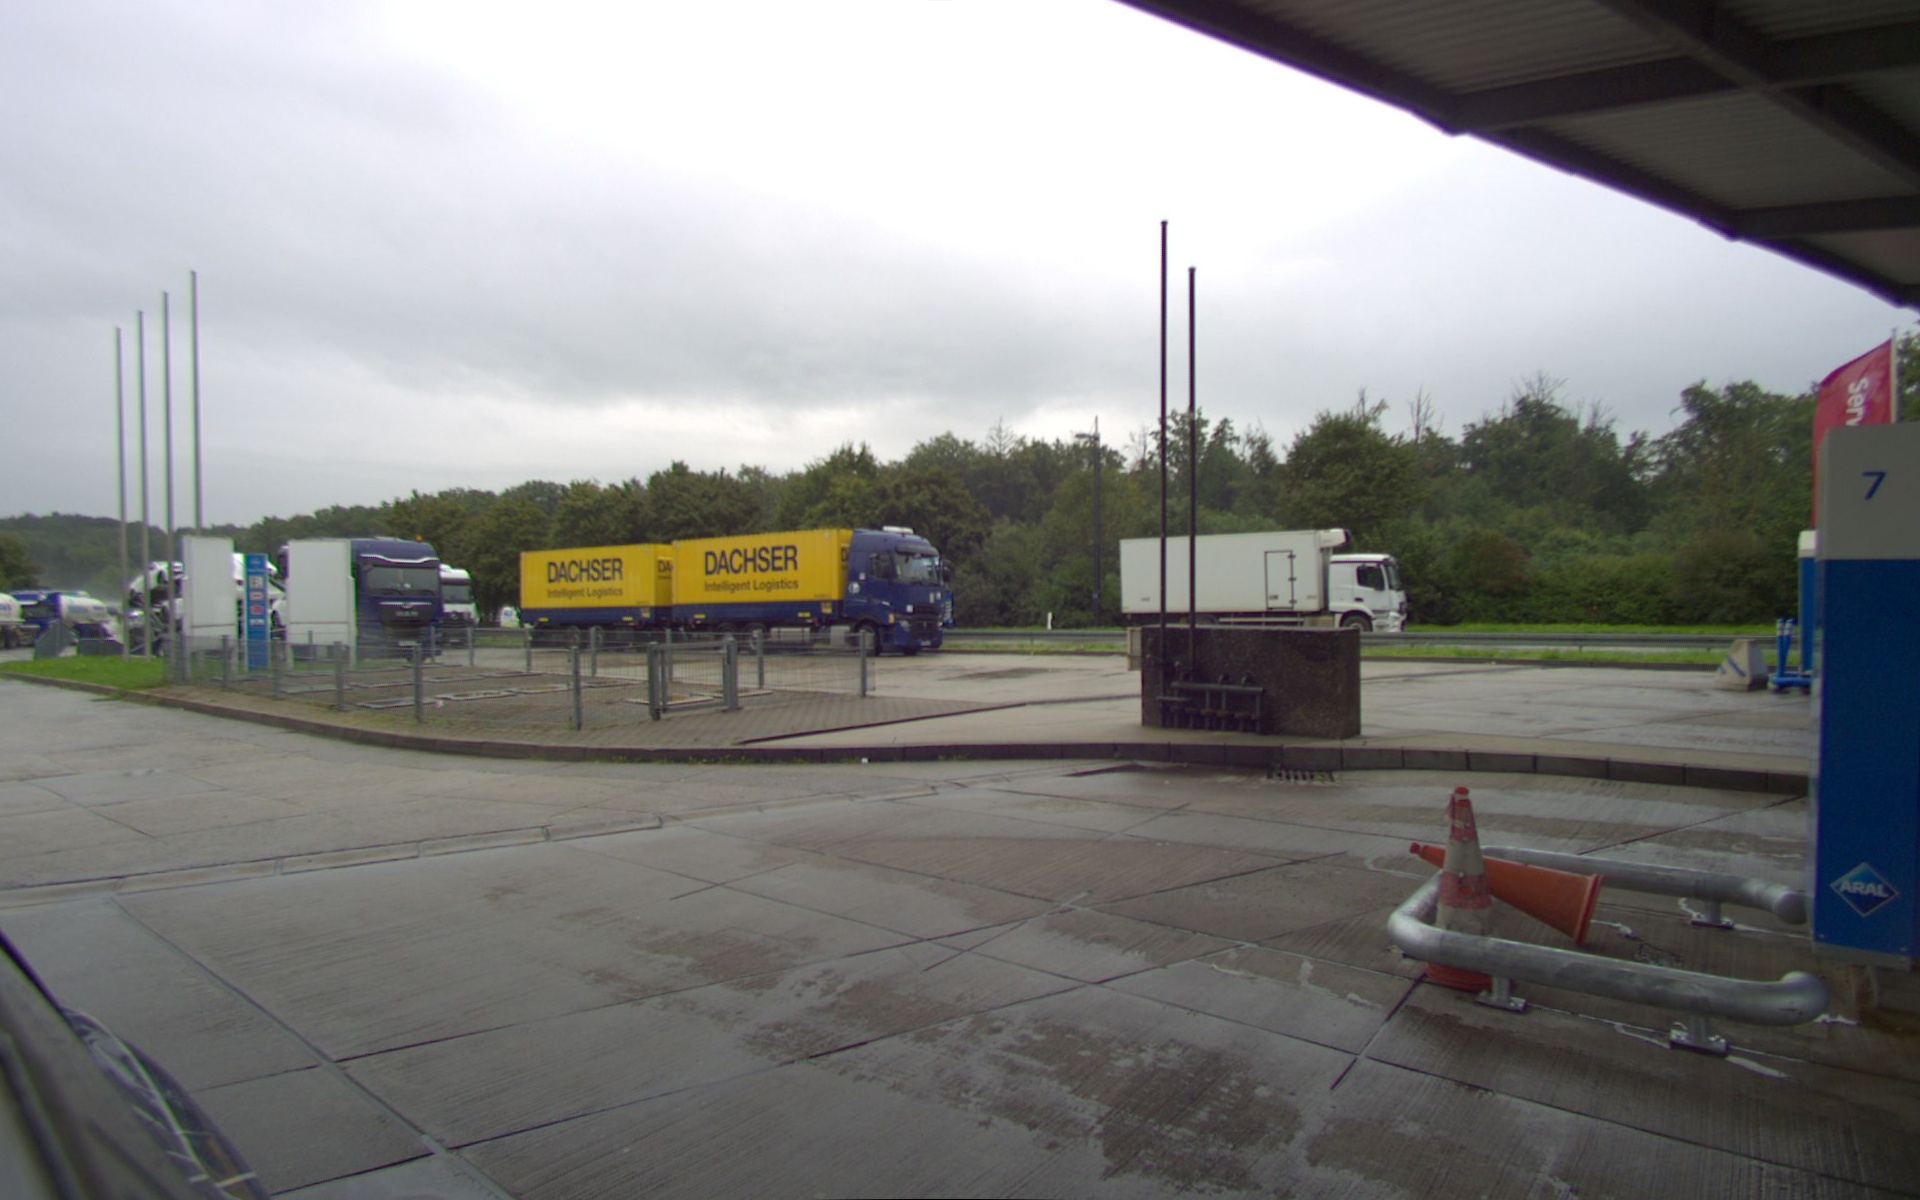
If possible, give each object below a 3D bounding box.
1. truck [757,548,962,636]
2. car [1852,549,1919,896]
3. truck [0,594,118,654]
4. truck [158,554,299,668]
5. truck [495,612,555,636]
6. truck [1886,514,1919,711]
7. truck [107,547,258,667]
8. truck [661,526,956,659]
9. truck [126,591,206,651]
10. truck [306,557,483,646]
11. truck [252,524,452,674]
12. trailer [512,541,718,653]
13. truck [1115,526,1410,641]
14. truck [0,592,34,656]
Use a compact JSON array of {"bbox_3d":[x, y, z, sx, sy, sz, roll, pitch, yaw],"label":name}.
[{"bbox_3d":[-4.885,-0.313,47.654,10.195,3.836,2.395,-1,0,31],"label":"truck"},{"bbox_3d":[6.906,0.543,3.811,5.269,1.620,1.842,-1,0,41],"label":"car"},{"bbox_3d":[-61.502,1.622,68.664,3.454,3.633,14.709,-1,-1,-27],"label":"truck"},{"bbox_3d":[-26.113,0.395,36.083,4.738,3.800,2.635,-1,0,34],"label":"truck"},{"bbox_3d":[-40.367,2.201,93.898,5.810,2.140,2.061,-1,0,31],"label":"truck"},{"bbox_3d":[14.988,0.125,11.966,5.859,2.513,2.208,-1,0,41],"label":"truck"},{"bbox_3d":[-29.595,0.299,38.456,6.605,4.213,2.635,-1,0,35],"label":"truck"},{"bbox_3d":[-5.343,-0.177,34.039,10.654,3.946,2.727,-1,0,33],"label":"truck"},{"bbox_3d":[-58.910,1.505,74.923,11.524,4.160,3.101,-1,0,44],"label":"truck"},{"bbox_3d":[-27.325,0.104,48.637,10.654,3.946,2.727,-1,0,33],"label":"truck"},{"bbox_3d":[-19.015,0.011,31.487,7.089,4.213,2.635,-1,0,35],"label":"truck"},{"bbox_3d":[-13.505,-0.073,39.268,8.679,3.946,2.728,-1,0,32],"label":"trailer"},{"bbox_3d":[10.963,-0.516,37.460,10.195,3.836,2.395,-1,0,31],"label":"truck"},{"bbox_3d":[-55.163,1.338,53.697,3.454,3.633,14.444,-1,-1,-19],"label":"truck"}]
